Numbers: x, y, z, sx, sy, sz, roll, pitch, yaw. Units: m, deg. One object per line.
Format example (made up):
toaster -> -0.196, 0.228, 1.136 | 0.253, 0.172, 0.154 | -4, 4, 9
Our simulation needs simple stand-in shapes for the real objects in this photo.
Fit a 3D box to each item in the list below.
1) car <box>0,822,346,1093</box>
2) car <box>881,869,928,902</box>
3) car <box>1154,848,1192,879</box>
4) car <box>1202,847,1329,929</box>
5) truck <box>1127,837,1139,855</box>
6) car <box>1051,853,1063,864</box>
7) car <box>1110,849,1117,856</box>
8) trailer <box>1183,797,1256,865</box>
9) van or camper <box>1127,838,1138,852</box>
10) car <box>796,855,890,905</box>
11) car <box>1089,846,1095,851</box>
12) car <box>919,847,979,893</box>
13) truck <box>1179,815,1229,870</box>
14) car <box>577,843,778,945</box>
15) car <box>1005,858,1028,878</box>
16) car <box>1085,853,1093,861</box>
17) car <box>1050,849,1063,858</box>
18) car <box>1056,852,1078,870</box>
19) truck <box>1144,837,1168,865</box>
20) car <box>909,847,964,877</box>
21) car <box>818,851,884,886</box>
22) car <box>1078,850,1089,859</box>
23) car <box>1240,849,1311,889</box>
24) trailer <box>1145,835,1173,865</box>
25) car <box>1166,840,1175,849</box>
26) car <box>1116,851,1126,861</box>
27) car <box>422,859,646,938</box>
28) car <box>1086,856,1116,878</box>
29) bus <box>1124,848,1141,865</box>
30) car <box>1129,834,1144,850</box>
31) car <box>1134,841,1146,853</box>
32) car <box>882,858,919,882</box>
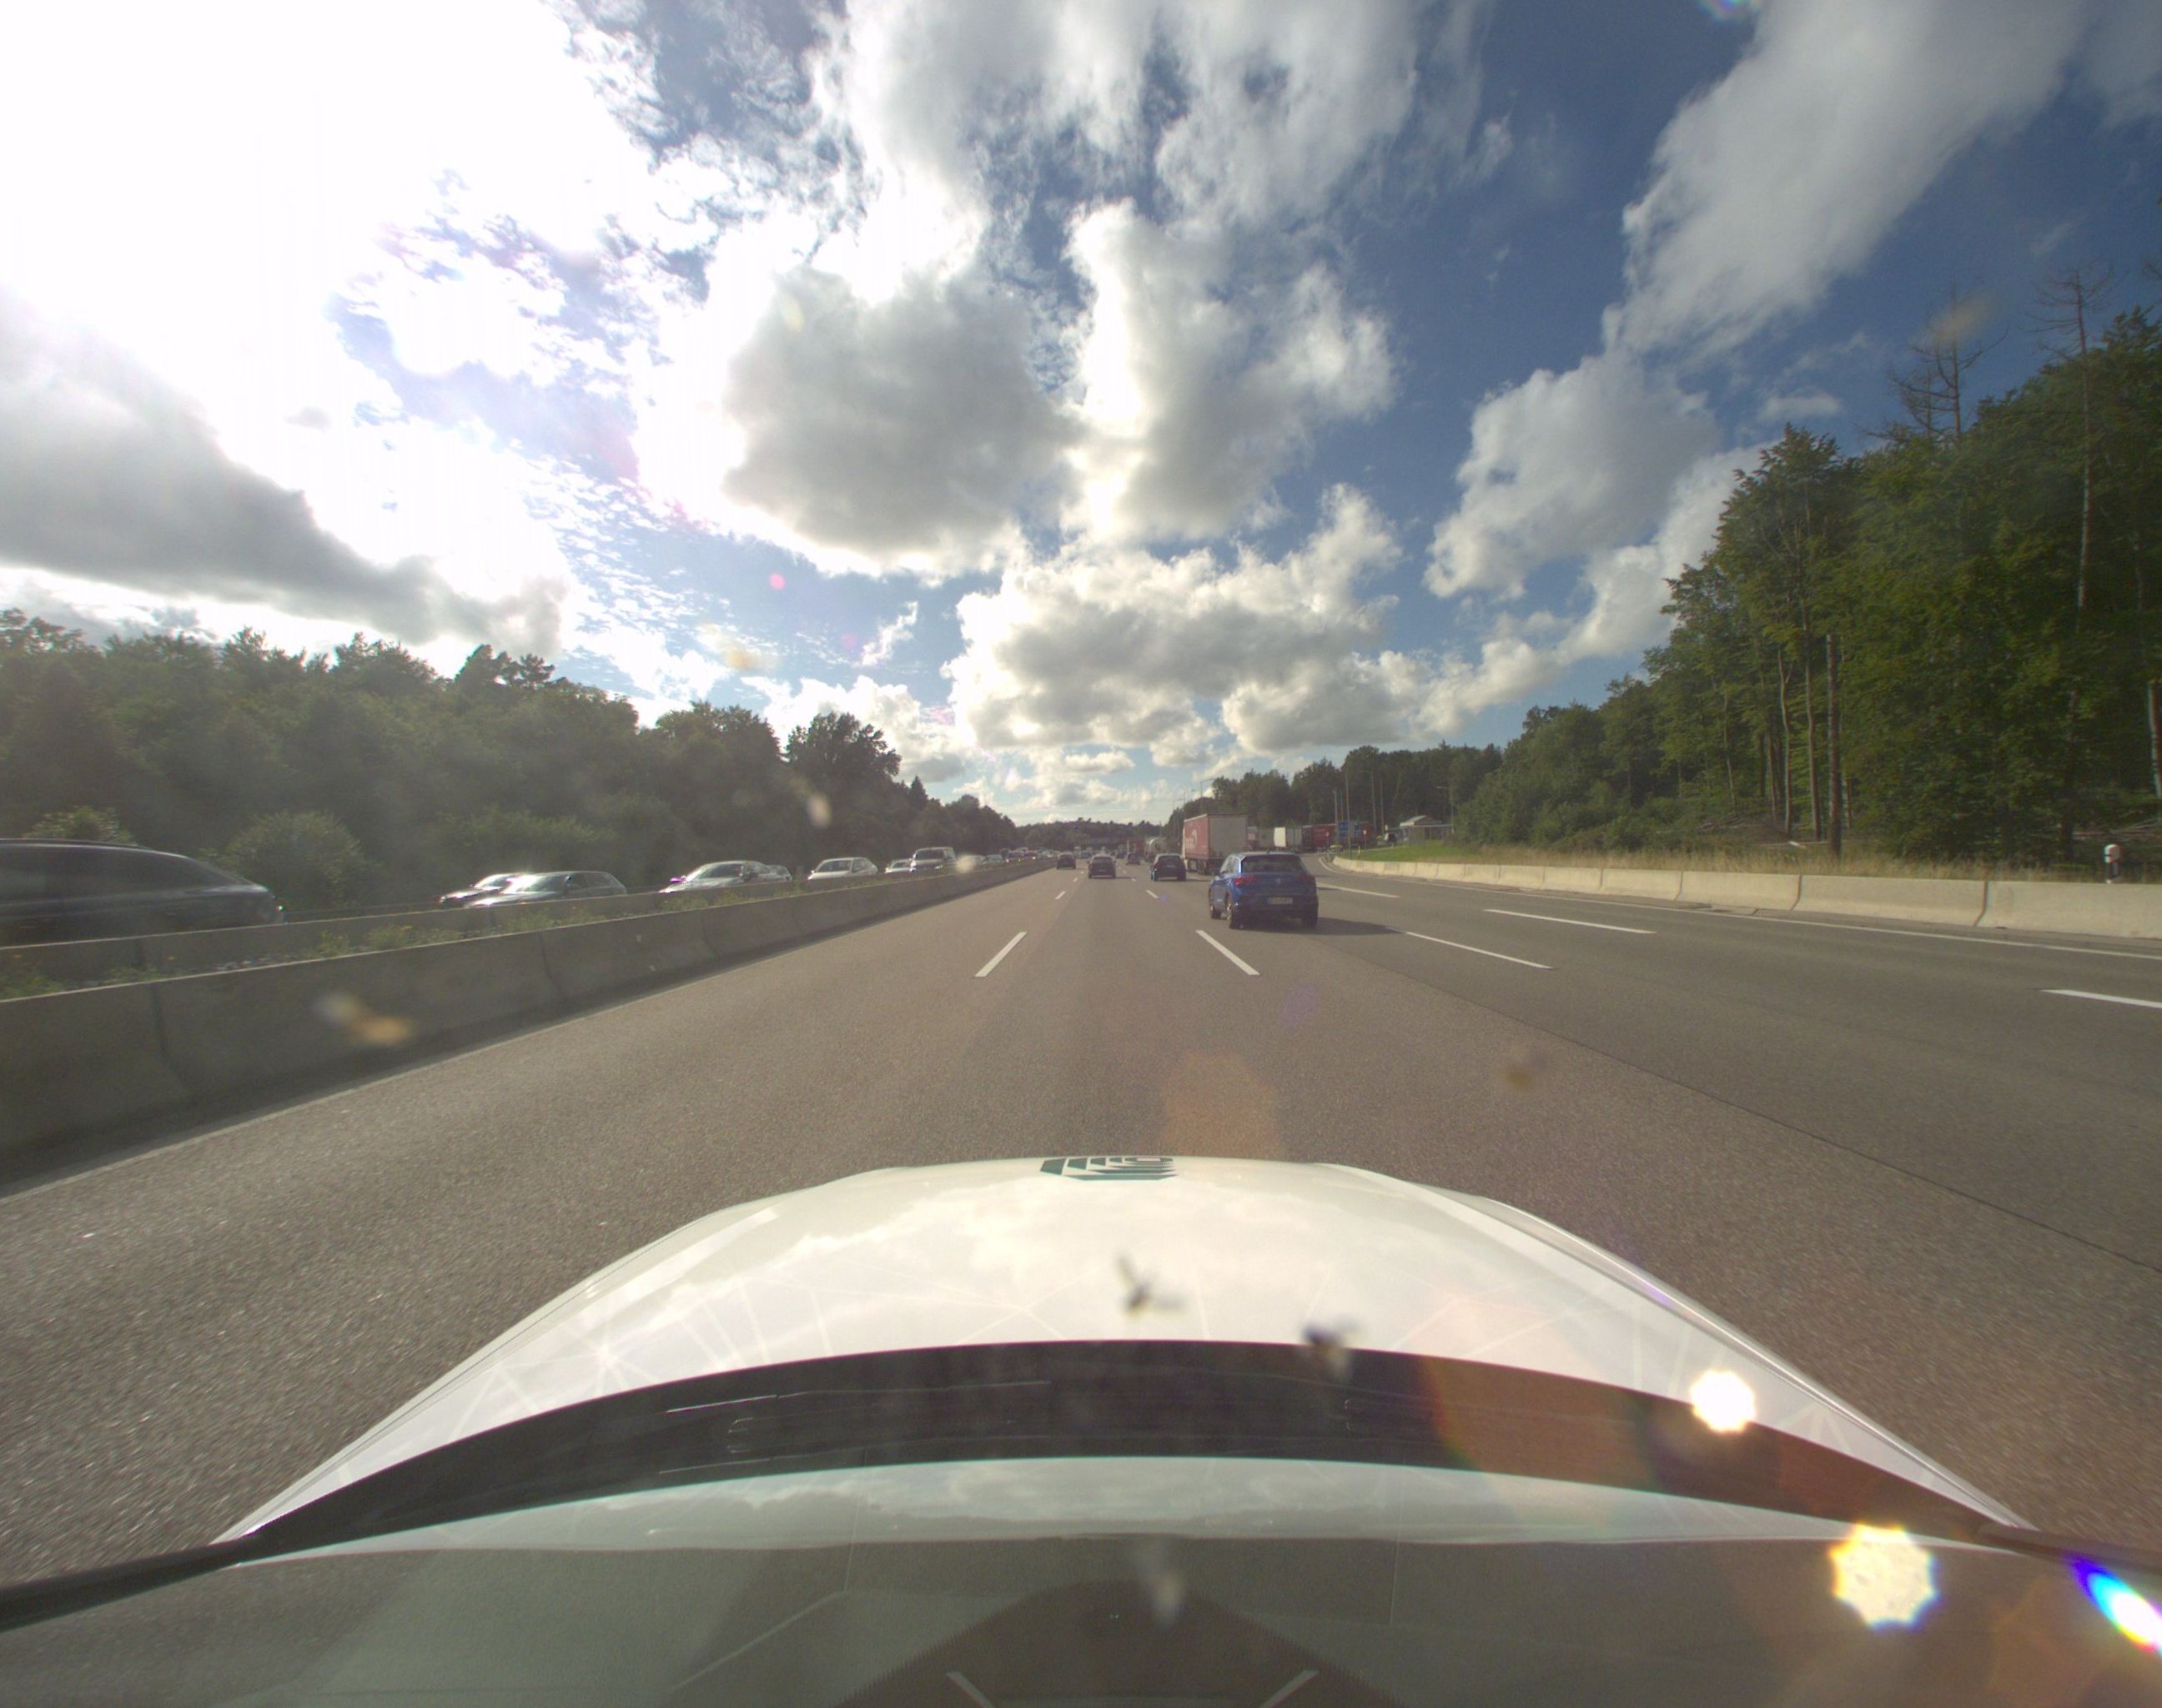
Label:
car -> -8.950, 0.783, 6.521 | 1.875, 2.013, 4.522 | -1, 0, 2
car -> -11.691, 2.048, 54.211 | 1.985, 2.014, 4.461 | -1, -1, 2
car -> 5.105, 0.555, 45.732 | 1.792, 1.644, 4.001 | 0, -1, 2
car -> 3.868, 0.677, 17.923 | 1.916, 1.541, 4.648 | -1, -1, 2
truck -> 11.668, -1.706, 182.606 | 2.348, 3.572, 11.272 | -1, -2, 3
car -> -4.779, 0.906, 159.550 | 1.986, 2.014, 4.679 | -1, -2, 2
car -> 10.505, -0.476, 262.784 | 1.986, 2.014, 4.001 | 0, 0, 1
trailer -> 9.424, -1.321, 57.237 | 3.027, 4.035, 13.892 | -1, -2, 1
van or camper -> 11.986, -2.096, 189.105 | 2.342, 3.144, 5.713 | -1, -2, 3
car -> -9.022, 0.924, 31.314 | 1.986, 1.735, 5.092 | -1, 0, 1
car -> 3.395, -1.581, 246.095 | 1.617, 1.470, 3.816 | 0, 0, 2
car -> -5.847, 0.674, 36.537 | 1.987, 1.920, 4.001 | -1, 1, 1
truck -> 9.605, -0.845, 64.212 | 3.069, 4.064, 6.070 | -1, -2, 1
car -> -9.038, 0.803, 18.869 | 1.897, 2.013, 5.094 | -1, 0, 2
car -> -6.716, 1.515, 84.668 | 1.809, 2.014, 4.454 | -1, -2, 2
car -> 2.062, 0.759, 206.834 | 1.986, 2.013, 4.001 | -1, 0, 1
car -> -4.507, -0.068, 150.094 | 1.985, 1.572, 5.332 | 1, 0, 3
car -> -1.428, 0.726, 82.523 | 1.986, 1.776, 4.002 | -1, 0, 2
truck -> 11.426, -0.413, 125.053 | 3.035, 4.160, 7.126 | -1, -1, 0
car -> -7.964, 0.423, 45.416 | 1.985, 1.572, 4.818 | -1, 0, 2
car -> -12.299, 0.729, 43.796 | 1.985, 1.733, 4.765 | -1, 0, 2
car -> 0.555, 0.131, 178.035 | 2.146, 1.776, 4.001 | 0, -1, 2
car -> 8.141, 0.631, 34.476 | 1.711, 1.511, 4.297 | -2, -1, -3
trailer -> 11.328, -0.459, 118.907 | 3.025, 4.016, 12.246 | -1, -1, 1
car -> 23.082, -2.393, 209.770 | 1.986, 2.013, 4.001 | -2, 0, 1
car -> 8.390, 0.350, 169.258 | 1.986, 2.014, 4.001 | 0, -1, 1
car -> -12.465, 0.977, 19.011 | 1.985, 1.596, 4.526 | 0, -2, 2
car -> 1.213, 0.815, 51.910 | 1.729, 1.365, 3.997 | 0, -1, -1
bus -> 6.337, 0.332, 100.296 | 1.986, 2.014, 4.001 | -1, -2, 2
car -> 11.165, -2.376, 165.245 | 2.855, 2.992, 5.152 | -1, -2, 2
car -> 11.171, -1.315, 154.585 | 1.986, 2.014, 4.000 | -1, -2, 1
car -> -15.373, 1.388, 69.625 | 1.985, 2.014, 4.461 | -1, -2, 2
